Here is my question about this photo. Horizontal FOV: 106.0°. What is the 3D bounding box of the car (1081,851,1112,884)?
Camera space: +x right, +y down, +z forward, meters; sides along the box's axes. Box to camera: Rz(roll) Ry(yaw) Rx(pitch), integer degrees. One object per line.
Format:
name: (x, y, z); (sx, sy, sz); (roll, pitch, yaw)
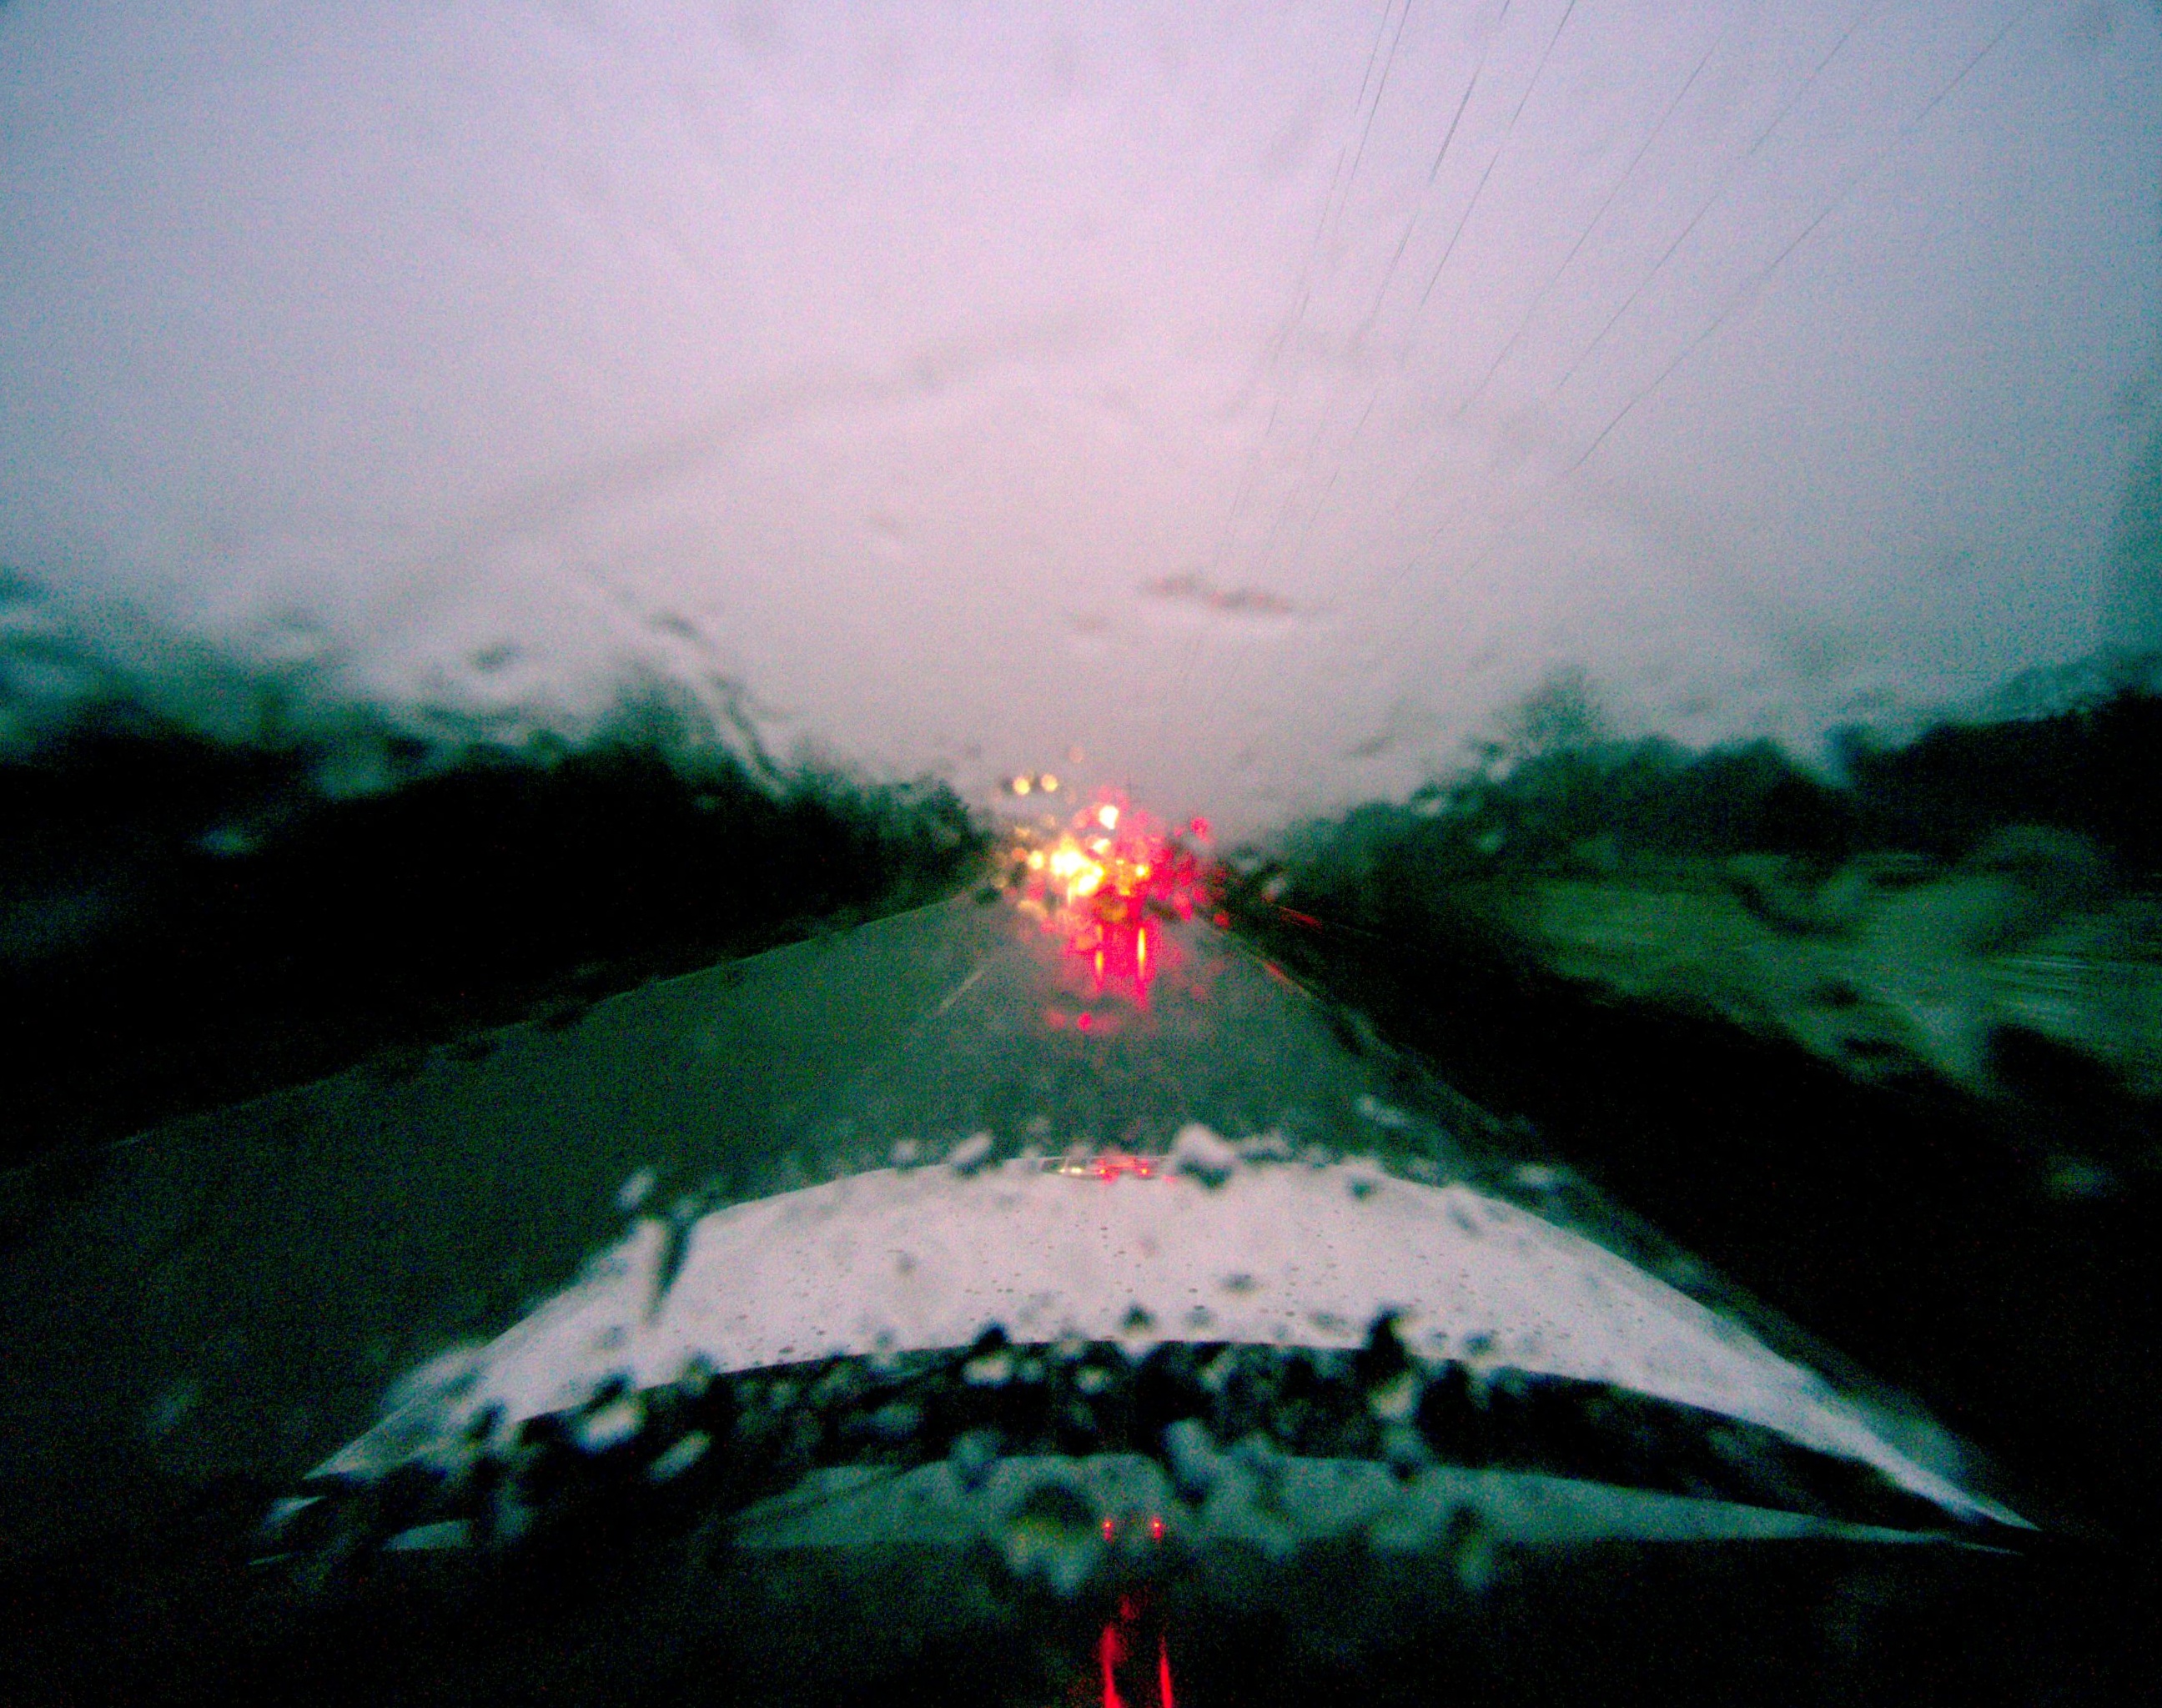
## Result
car: (0.971, 0.873, 53.272); (1.847, 2.014, 3.997); (-1, 0, -2)

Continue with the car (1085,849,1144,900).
car: (0.935, 0.584, 24.061); (1.496, 1.398, 3.197); (-1, 0, -2)

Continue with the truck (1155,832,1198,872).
truck: (7.500, -0.139, 64.811); (2.525, 2.978, 7.857); (-1, 0, 0)

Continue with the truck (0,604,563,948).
truck: (-28.053, -1.716, 17.112); (7.515, 7.713, 40.164); (-1, 0, 2)
